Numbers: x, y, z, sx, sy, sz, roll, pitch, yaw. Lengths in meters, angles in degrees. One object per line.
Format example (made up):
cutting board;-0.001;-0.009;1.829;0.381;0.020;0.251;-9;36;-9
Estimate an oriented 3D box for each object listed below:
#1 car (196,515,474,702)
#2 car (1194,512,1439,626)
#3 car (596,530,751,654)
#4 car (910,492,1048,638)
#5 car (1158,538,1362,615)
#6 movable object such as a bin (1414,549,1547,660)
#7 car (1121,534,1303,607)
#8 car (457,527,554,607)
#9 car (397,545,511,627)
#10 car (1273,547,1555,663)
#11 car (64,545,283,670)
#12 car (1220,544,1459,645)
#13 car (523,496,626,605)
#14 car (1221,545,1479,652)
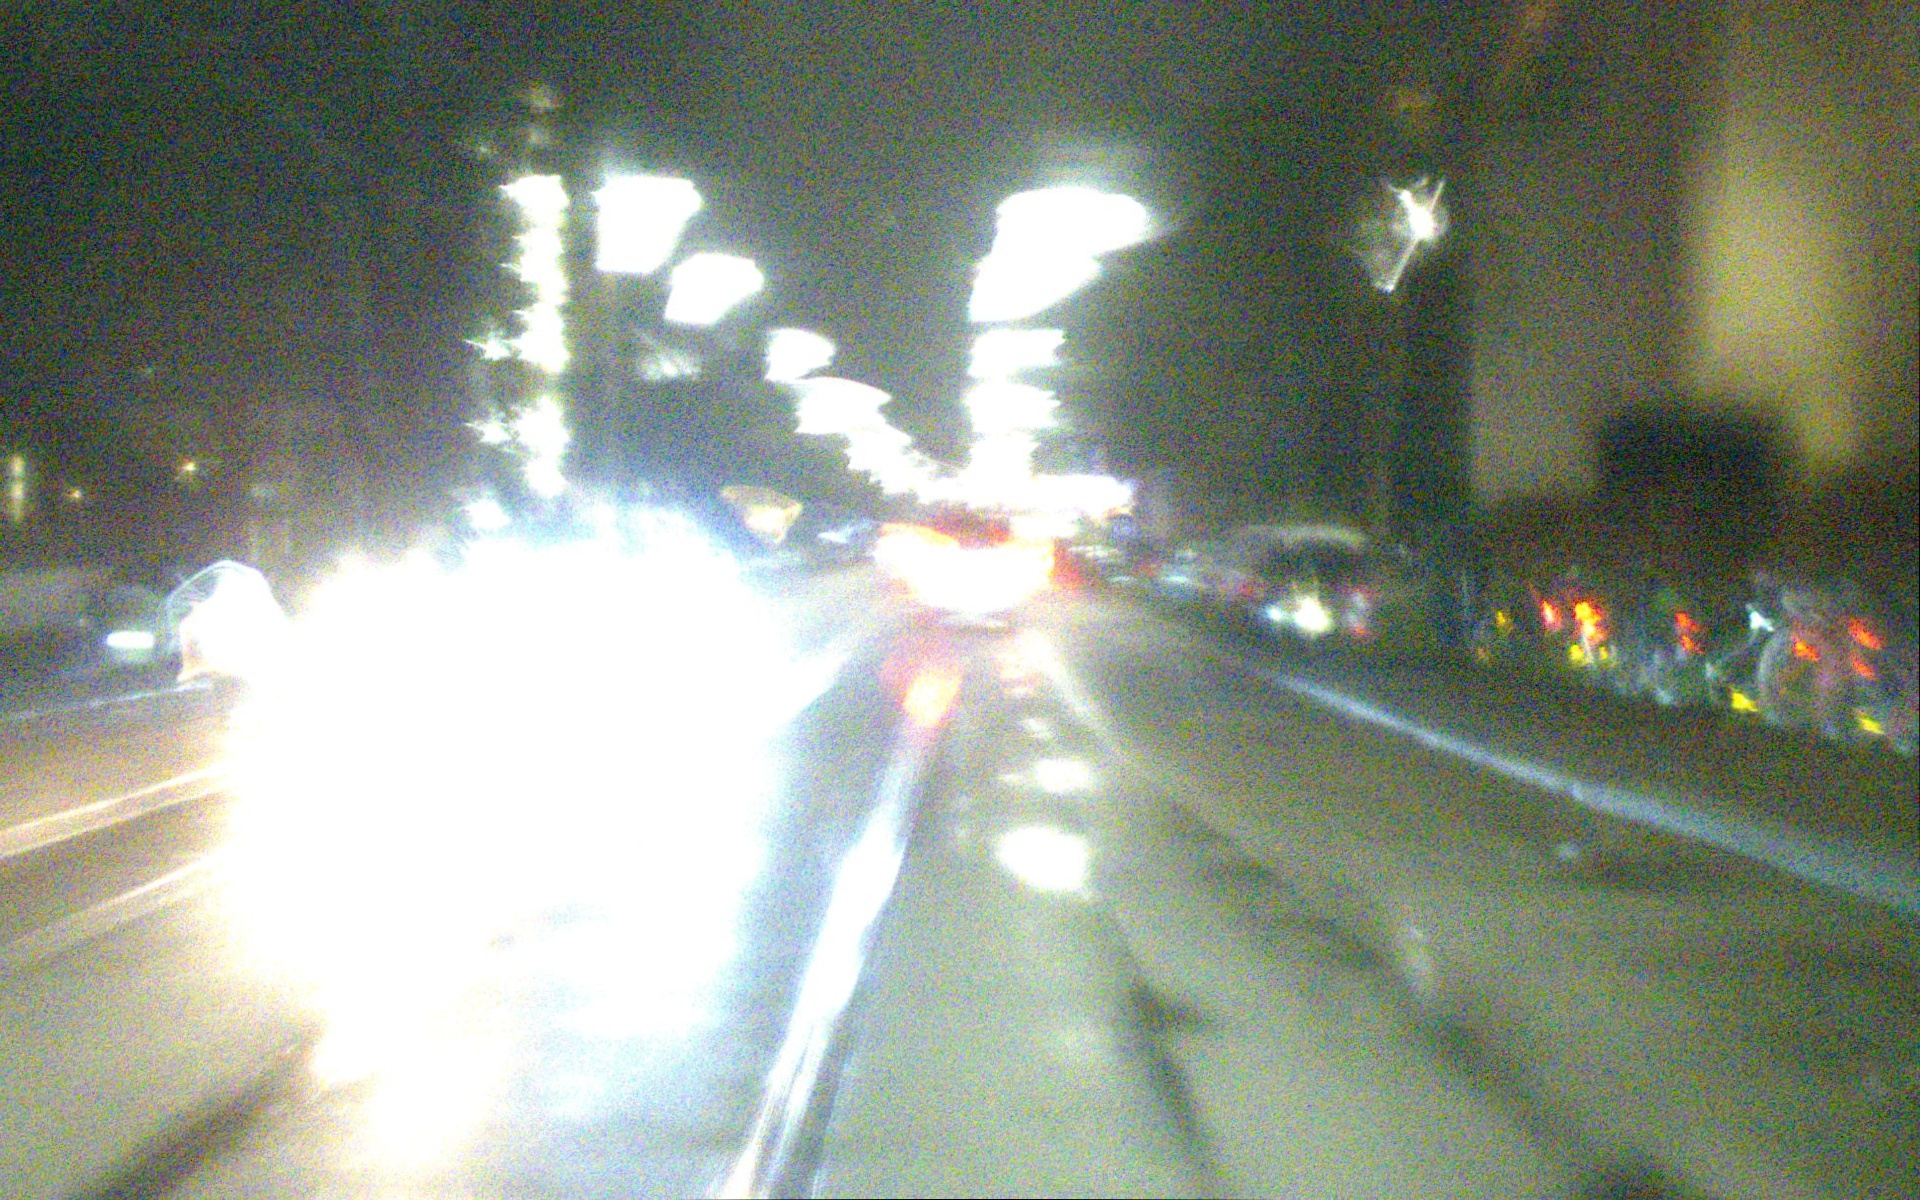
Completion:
car;-5.338;0.028;29.836;1.651;1.474;4.206;-1;1;-1
car;6.372;-0.545;61.252;4.162;1.833;1.962;2;1;-41
car;-4.411;-0.164;53.607;1.938;1.809;4.385;-1;1;1
car;0.285;-0.635;60.907;2.216;2.433;5.385;1;1;-2
car;5.974;-0.495;68.153;1.691;1.399;4.447;2;3;42
movable object such as a bin;6.666;0.048;44.087;1.347;1.402;1.027;0;1;-19
car;5.674;-0.662;77.183;3.877;1.528;1.821;1;1;-41
car;-9.512;-0.717;72.152;1.641;1.502;3.620;2;3;-2
car;-9.414;-0.268;64.171;1.609;1.423;3.809;2;0;-2
car;6.264;0.077;47.237;3.779;1.453;1.769;2;1;-42
car;-9.620;0.088;42.332;1.668;1.382;4.001;3;0;1
car;5.940;-0.075;53.567;3.825;1.433;1.599;2;1;-44
car;-9.387;-1.240;84.098;2.024;2.490;5.608;3;1;-2
car;5.724;-0.034;50.202;1.806;1.483;3.846;1;1;43
